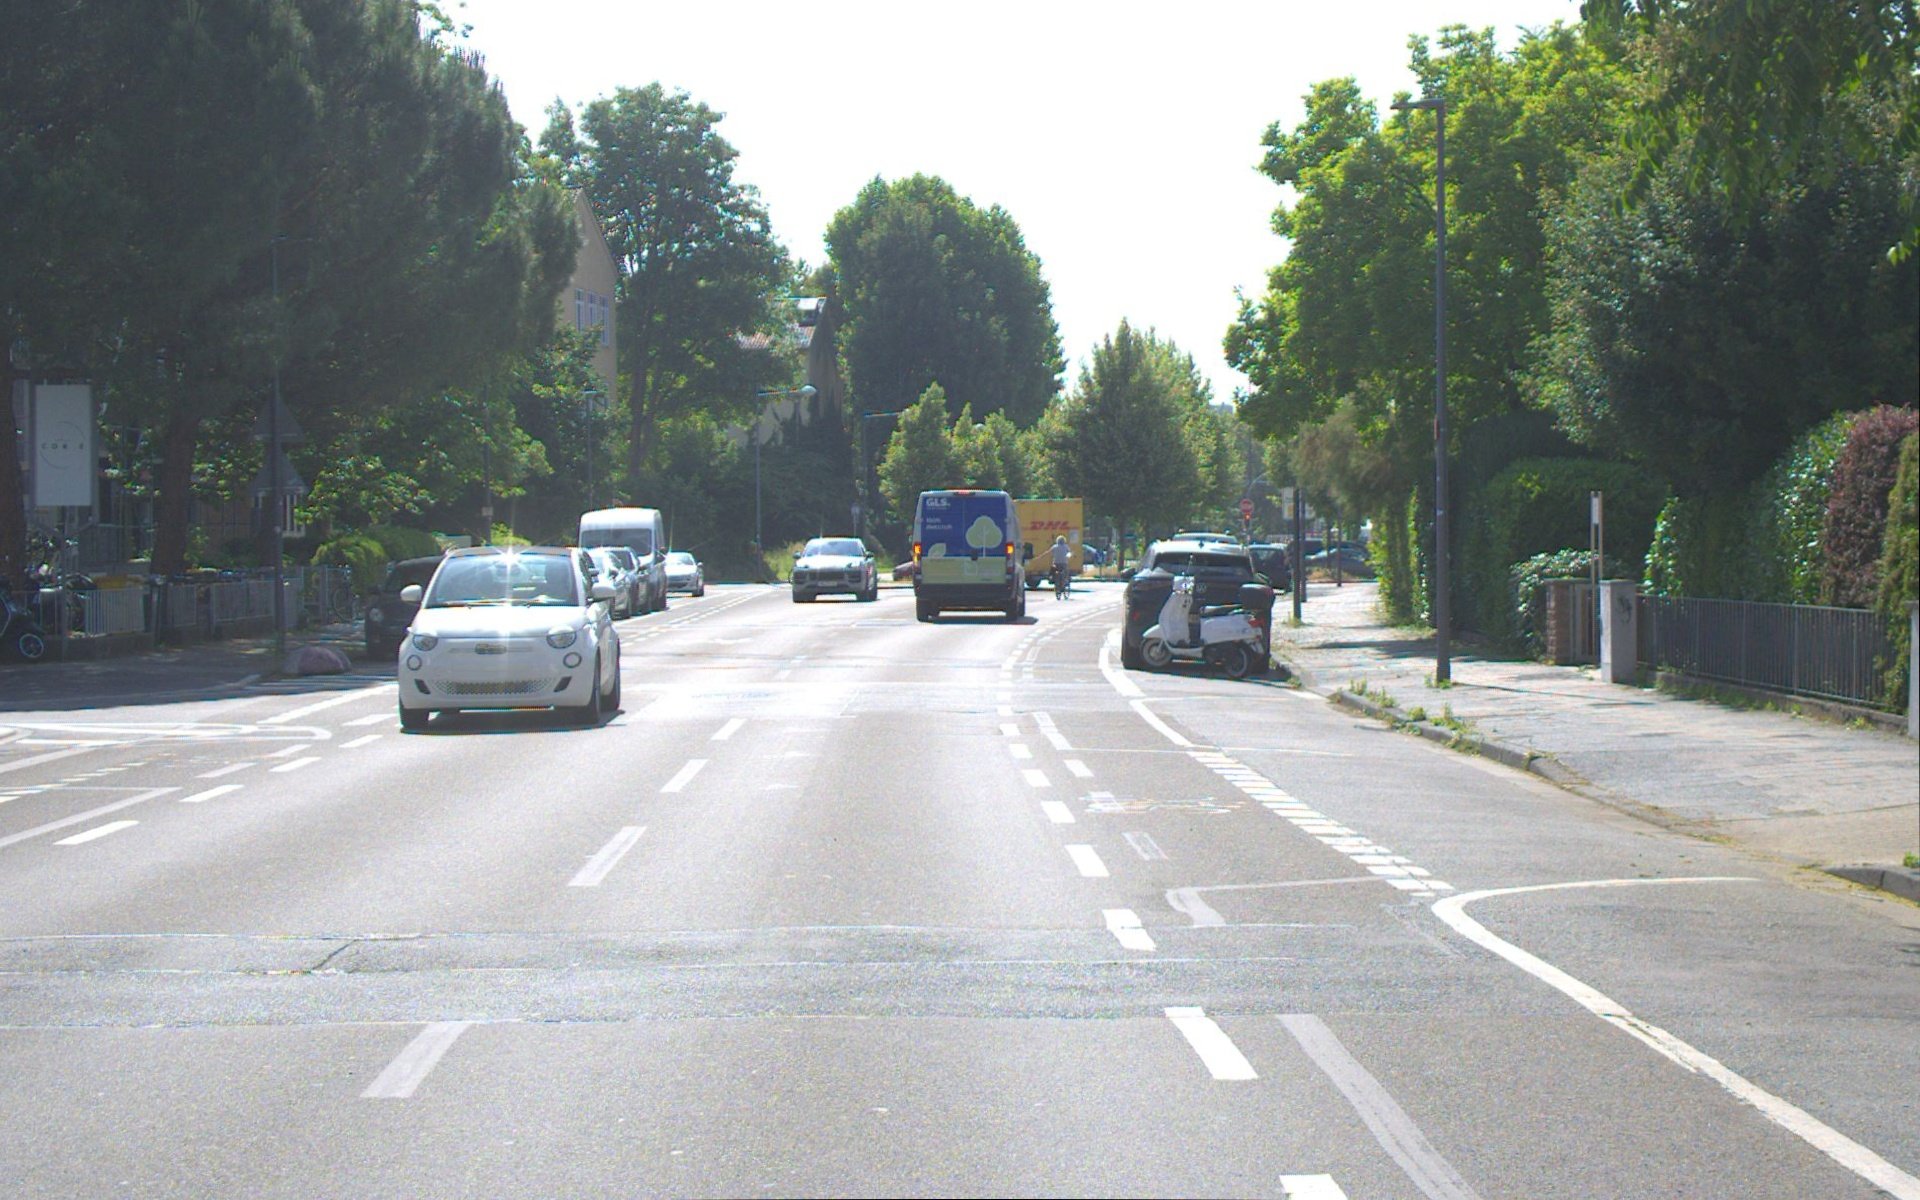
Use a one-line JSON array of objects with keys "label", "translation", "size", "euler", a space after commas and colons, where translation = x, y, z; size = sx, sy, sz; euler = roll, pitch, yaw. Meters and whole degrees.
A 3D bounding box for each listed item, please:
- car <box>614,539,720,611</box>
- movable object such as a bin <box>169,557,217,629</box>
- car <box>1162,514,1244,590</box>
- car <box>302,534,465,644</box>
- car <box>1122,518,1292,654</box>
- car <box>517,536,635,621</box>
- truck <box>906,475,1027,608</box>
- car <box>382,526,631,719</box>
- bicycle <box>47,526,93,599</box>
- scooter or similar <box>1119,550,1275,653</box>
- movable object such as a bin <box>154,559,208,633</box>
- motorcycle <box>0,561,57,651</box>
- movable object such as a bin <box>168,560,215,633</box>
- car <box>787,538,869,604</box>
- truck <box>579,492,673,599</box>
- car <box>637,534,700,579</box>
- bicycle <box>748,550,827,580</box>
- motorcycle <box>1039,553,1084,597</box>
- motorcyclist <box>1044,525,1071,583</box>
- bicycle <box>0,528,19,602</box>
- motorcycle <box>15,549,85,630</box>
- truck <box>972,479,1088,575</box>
[{"label": "car", "translation": [-6.452, -0.572, 76.025], "size": [1.835, 1.491, 3.654], "euler": [-1, 1, 3]}, {"label": "movable object such as a bin", "translation": [-11.917, -0.109, 53.398], "size": [0.605, 1.107, 0.431], "euler": [-1, 1, 5]}, {"label": "car", "translation": [5.550, -1.108, 78.833], "size": [1.700, 1.671, 3.775], "euler": [-1, 1, 2]}, {"label": "car", "translation": [-8.424, -0.198, 50.550], "size": [1.780, 1.455, 4.087], "euler": [-2, 1, -2]}, {"label": "car", "translation": [3.233, -0.220, 44.294], "size": [1.785, 1.632, 4.469], "euler": [1, 1, 9]}, {"label": "car", "translation": [-7.465, -0.435, 67.140], "size": [1.835, 1.590, 3.775], "euler": [-1, 1, 1]}, {"label": "truck", "translation": [0.176, -1.186, 69.653], "size": [2.272, 2.562, 4.392], "euler": [-1, 1, 2]}, {"label": "car", "translation": [-3.961, 0.153, 30.604], "size": [1.732, 1.535, 4.000], "euler": [-2, 1, -1]}, {"label": "bicycle", "translation": [-14.710, -0.623, 56.824], "size": [0.536, 1.178, 1.447], "euler": [-1, 1, -7]}, {"label": "scooter or similar", "translation": [2.853, 0.014, 41.508], "size": [1.796, 1.150, 0.718], "euler": [4, 2, 44]}, {"label": "movable object such as a bin", "translation": [-11.970, -0.067, 52.831], "size": [0.605, 1.107, 0.663], "euler": [-1, 1, 5]}, {"label": "motorcycle", "translation": [-13.062, 0.085, 45.872], "size": [1.839, 1.178, 0.643], "euler": [-1, 1, 4]}, {"label": "movable object such as a bin", "translation": [-11.881, -0.054, 53.145], "size": [0.544, 1.107, 0.585], "euler": [-1, 1, 5]}, {"label": "car", "translation": [-3.489, -0.800, 91.856], "size": [1.993, 1.652, 4.605], "euler": [-1, 1, 0]}, {"label": "truck", "translation": [-8.195, -1.366, 84.797], "size": [2.080, 2.528, 5.468], "euler": [-1, 1, -4]}, {"label": "car", "translation": [-8.984, -1.355, 106.247], "size": [1.754, 1.339, 3.654], "euler": [-1, 1, -2]}, {"label": "bicycle", "translation": [-6.131, -1.250, 122.306], "size": [2.687, 1.044, 1.026], "euler": [-1, 1, -9]}, {"label": "motorcycle", "translation": [2.690, -0.681, 91.694], "size": [1.056, 1.118, 2.992], "euler": [-1, 1, -1]}, {"label": "motorcyclist", "translation": [2.591, -1.220, 91.502], "size": [0.672, 1.513, 0.652], "euler": [-1, 1, 0]}, {"label": "bicycle", "translation": [-15.960, -0.549, 55.575], "size": [0.538, 1.177, 1.444], "euler": [1, 4, 31]}, {"label": "motorcycle", "translation": [-13.575, -0.163, 51.339], "size": [0.537, 1.178, 1.446], "euler": [-1, 1, 5]}, {"label": "truck", "translation": [2.181, -2.304, 108.962], "size": [2.213, 2.936, 5.688], "euler": [-1, 1, -14]}]
